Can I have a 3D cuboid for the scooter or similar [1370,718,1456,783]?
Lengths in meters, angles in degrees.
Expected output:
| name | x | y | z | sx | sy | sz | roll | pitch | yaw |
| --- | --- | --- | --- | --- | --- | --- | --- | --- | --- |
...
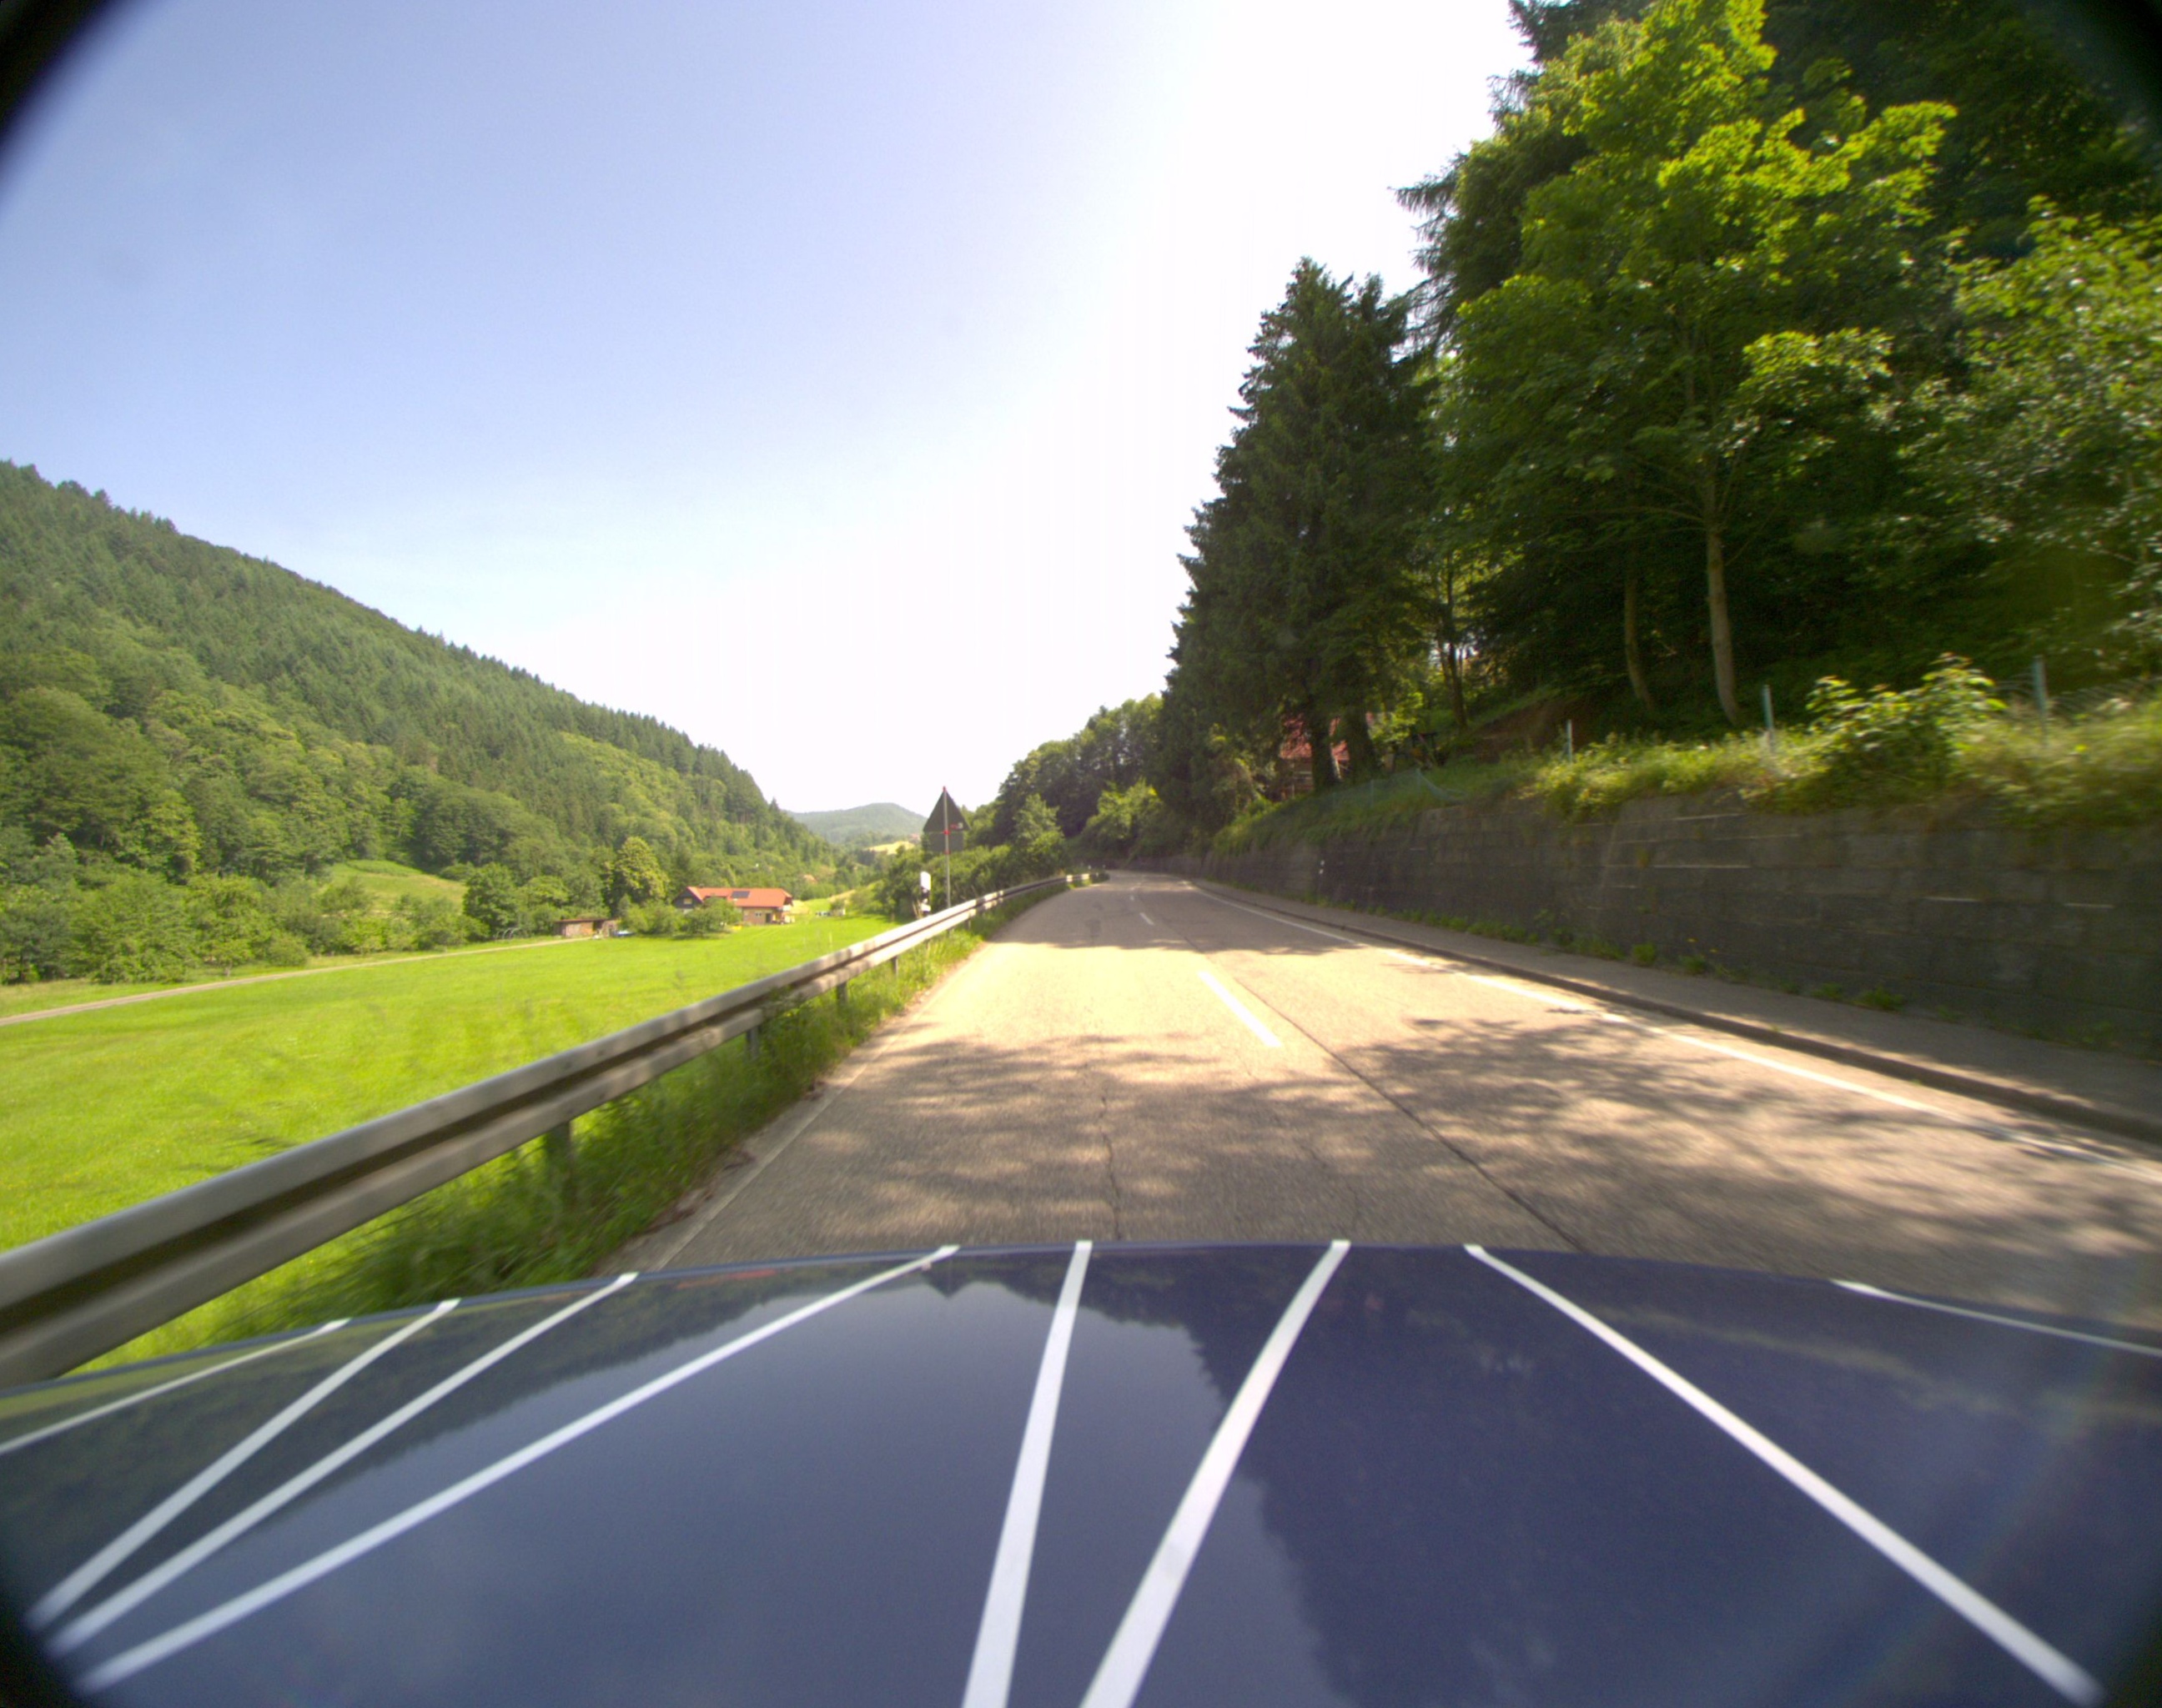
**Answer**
| name | x | y | z | sx | sy | sz | roll | pitch | yaw |
| --- | --- | --- | --- | --- | --- | --- | --- | --- | --- |
| scooter or similar | 14.034 | -4.321 | 32.417 | 1.982 | 2.015 | 4.407 | -5 | 0 | 6 |
